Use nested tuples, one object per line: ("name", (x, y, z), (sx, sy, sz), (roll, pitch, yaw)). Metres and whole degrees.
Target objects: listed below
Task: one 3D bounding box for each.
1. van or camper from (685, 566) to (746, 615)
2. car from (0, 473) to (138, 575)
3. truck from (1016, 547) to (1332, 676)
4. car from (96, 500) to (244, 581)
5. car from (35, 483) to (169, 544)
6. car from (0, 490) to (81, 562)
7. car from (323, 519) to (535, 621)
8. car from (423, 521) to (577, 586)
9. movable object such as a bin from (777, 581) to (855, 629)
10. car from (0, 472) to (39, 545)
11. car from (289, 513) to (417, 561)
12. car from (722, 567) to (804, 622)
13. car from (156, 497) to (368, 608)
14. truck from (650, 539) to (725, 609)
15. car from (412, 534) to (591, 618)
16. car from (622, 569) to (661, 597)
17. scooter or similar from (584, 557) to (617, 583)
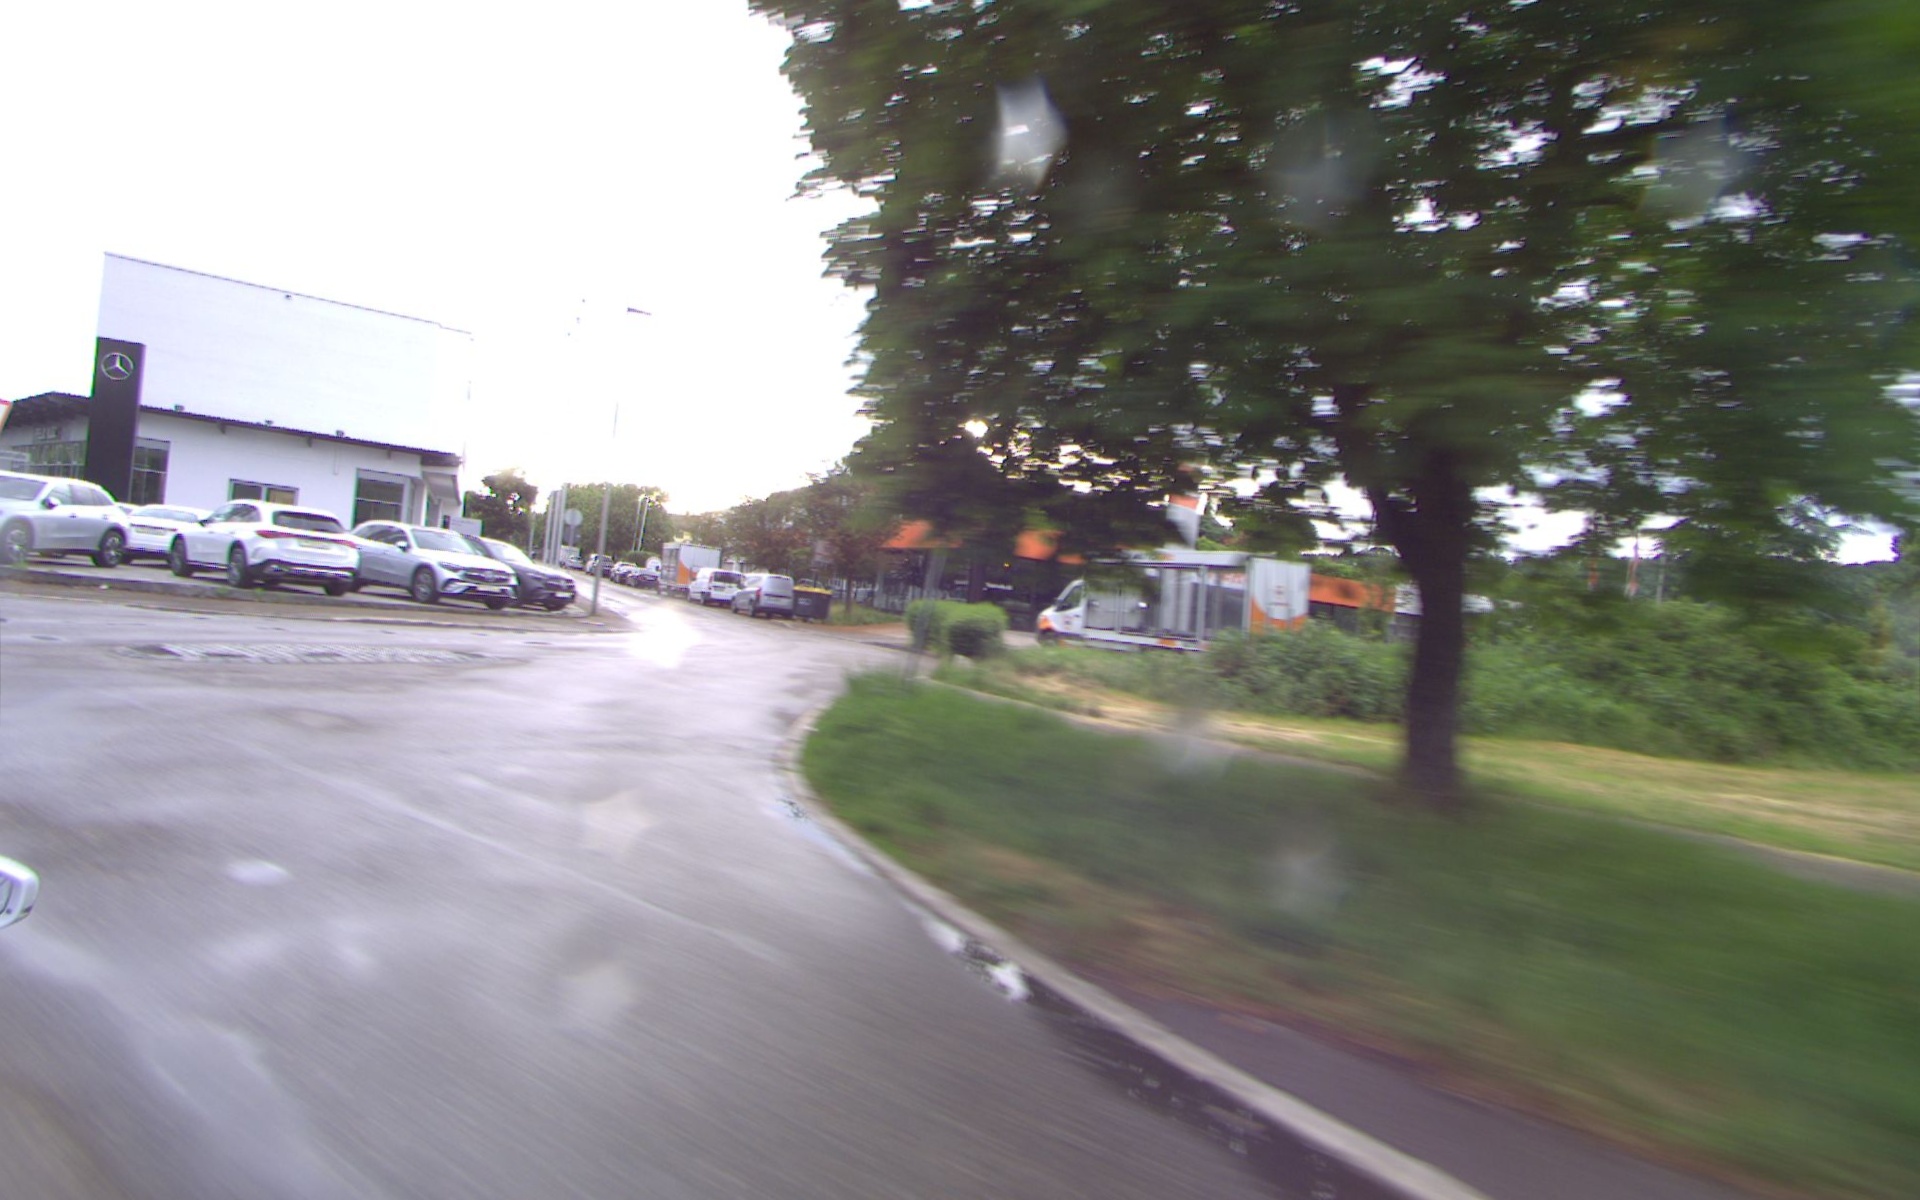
("van or camper", (-12.223, -0.491, 50.129), (1.788, 2.065, 3.970), (7, 0, -29))
("car", (-17.434, -1.420, 18.387), (1.935, 1.691, 4.352), (7, 0, -14))
("truck", (5.239, 0.148, 26.650), (2.764, 2.653, 8.400), (8, -2, -34))
("car", (-18.758, -1.397, 24.119), (1.944, 1.517, 4.334), (7, 0, -28))
("car", (-27.068, -2.675, 31.901), (1.877, 1.565, 3.980), (7, 1, -21))
("car", (-20.770, -1.661, 20.504), (1.817, 1.412, 4.141), (7, 0, 4))
("car", (-11.768, -0.682, 22.254), (4.429, 1.697, 2.025), (7, 0, 31))
("car", (-14.451, -1.428, 31.715), (3.925, 1.479, 1.771), (8, 2, 3))
("movable object such as a bin", (-5.564, 0.212, 39.052), (1.962, 1.504, 2.389), (7, -2, 19))
("car", (-23.725, -2.288, 22.611), (1.892, 1.673, 4.425), (6, 0, -1))
("car", (-25.613, -2.666, 42.627), (4.356, 1.461, 1.986), (6, 2, -26))
("car", (-8.509, -0.276, 43.158), (1.815, 2.037, 4.416), (8, -2, -31))
("car", (-13.889, -0.965, 19.922), (4.634, 1.693, 1.809), (7, 0, 34))
("truck", (-15.636, -1.447, 57.392), (2.541, 3.453, 6.609), (8, -2, -26))
("car", (-11.786, -0.604, 25.861), (4.048, 1.624, 1.848), (7, 0, 23))
("car", (-22.135, -1.166, 69.807), (1.975, 1.615, 3.976), (7, 0, -24))
("scooter or similar", (-32.928, -2.738, 91.981), (1.976, 2.045, 5.281), (7, 0, -27))
